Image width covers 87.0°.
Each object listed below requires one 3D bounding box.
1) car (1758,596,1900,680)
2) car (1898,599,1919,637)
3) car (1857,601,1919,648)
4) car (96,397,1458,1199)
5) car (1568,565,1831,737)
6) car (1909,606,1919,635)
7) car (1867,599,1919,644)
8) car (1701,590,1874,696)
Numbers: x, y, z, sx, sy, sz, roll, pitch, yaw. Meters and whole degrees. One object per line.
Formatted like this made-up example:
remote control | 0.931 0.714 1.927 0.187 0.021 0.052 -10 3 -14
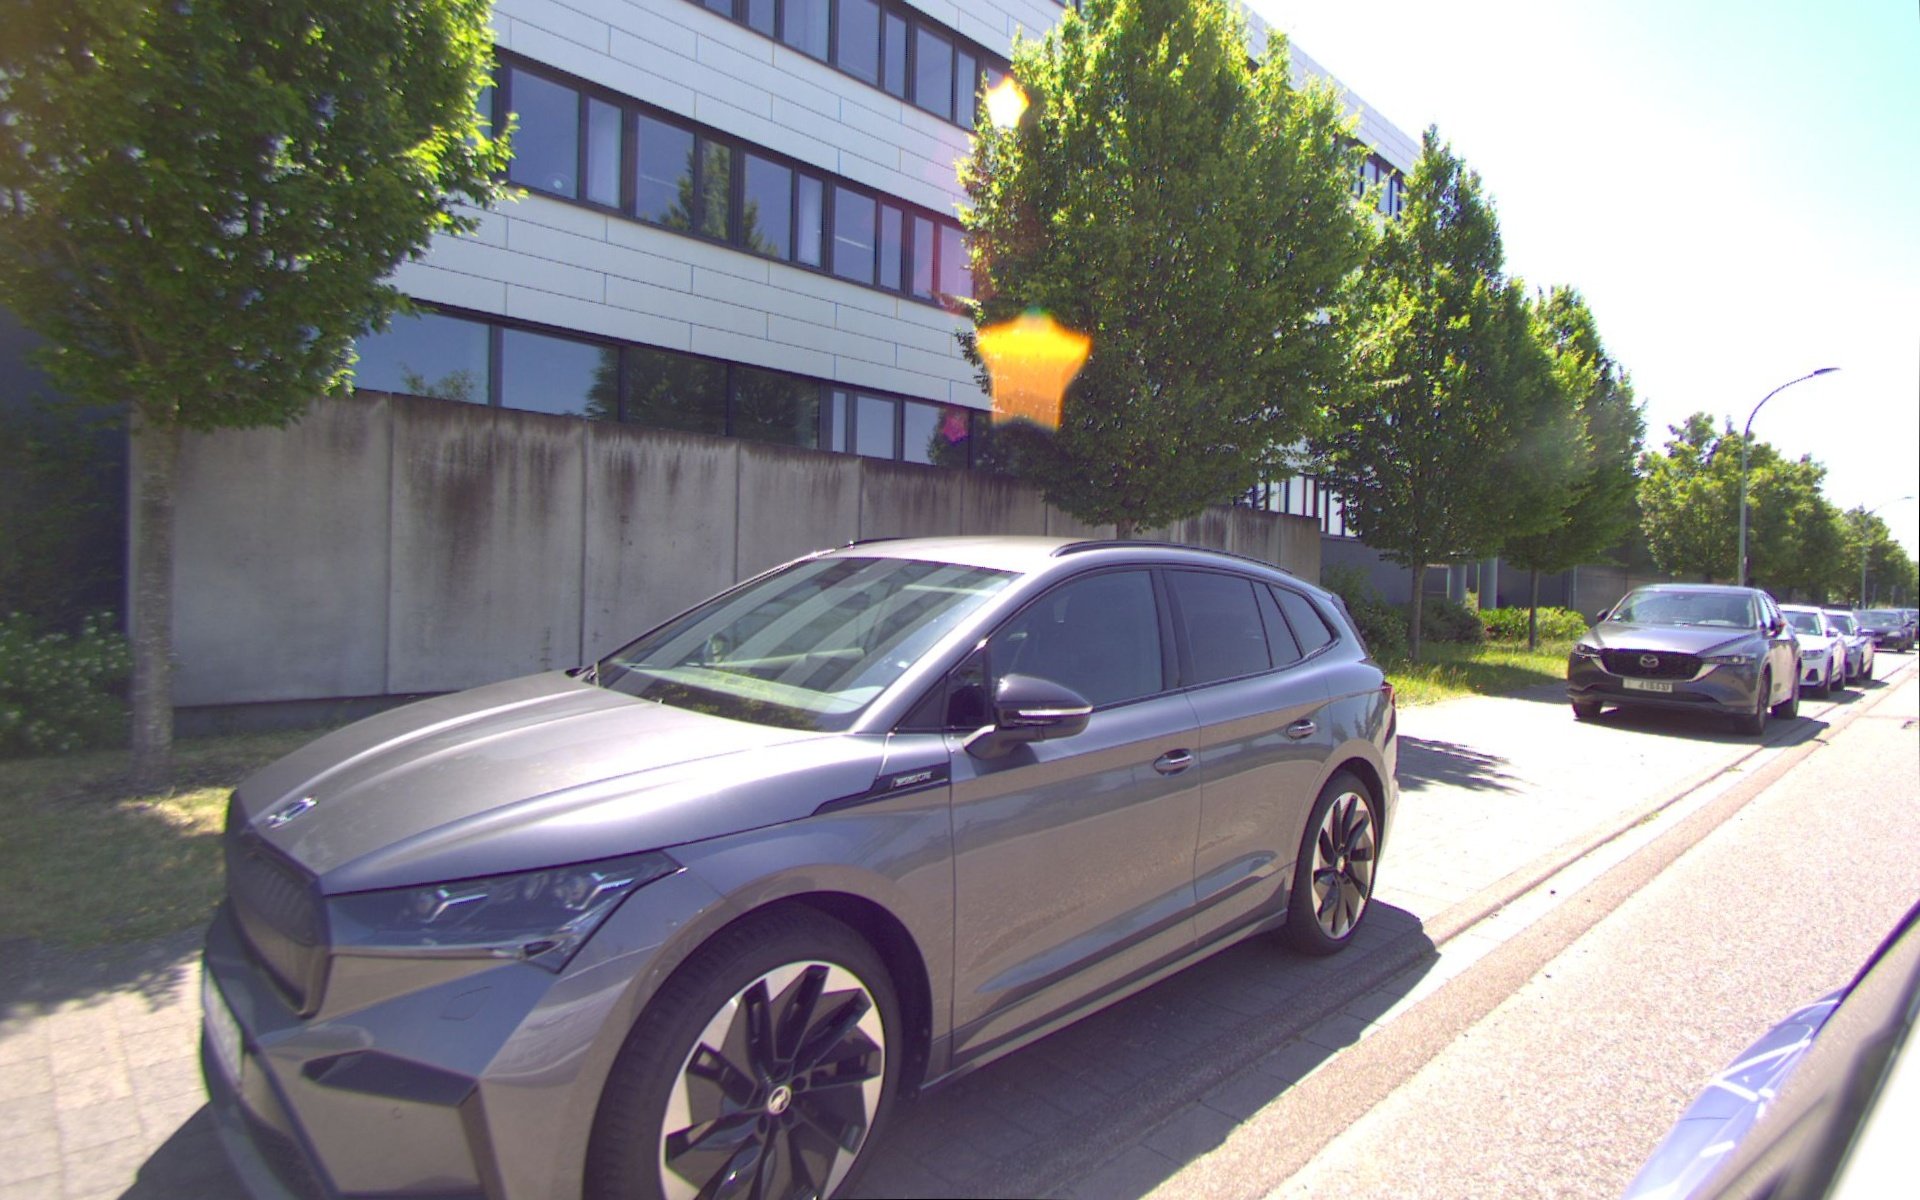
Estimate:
car | 17.701 0.712 20.553 3.884 1.441 1.719 1 3 -43
car | 46.417 0.880 48.609 4.296 1.690 1.739 1 2 -45
car | 33.449 0.847 36.224 4.198 1.494 1.693 1 3 -45
car | -0.038 0.518 3.624 4.532 1.682 1.806 1 3 -45
car | 9.109 0.513 12.330 4.289 1.683 1.760 1 3 -43
car | 50.953 1.098 52.917 4.120 1.475 1.709 1 2 -45
car | 38.001 0.834 40.779 4.637 1.637 1.809 1 3 -45
car | 14.217 0.656 17.315 3.963 1.499 1.719 1 3 -43
